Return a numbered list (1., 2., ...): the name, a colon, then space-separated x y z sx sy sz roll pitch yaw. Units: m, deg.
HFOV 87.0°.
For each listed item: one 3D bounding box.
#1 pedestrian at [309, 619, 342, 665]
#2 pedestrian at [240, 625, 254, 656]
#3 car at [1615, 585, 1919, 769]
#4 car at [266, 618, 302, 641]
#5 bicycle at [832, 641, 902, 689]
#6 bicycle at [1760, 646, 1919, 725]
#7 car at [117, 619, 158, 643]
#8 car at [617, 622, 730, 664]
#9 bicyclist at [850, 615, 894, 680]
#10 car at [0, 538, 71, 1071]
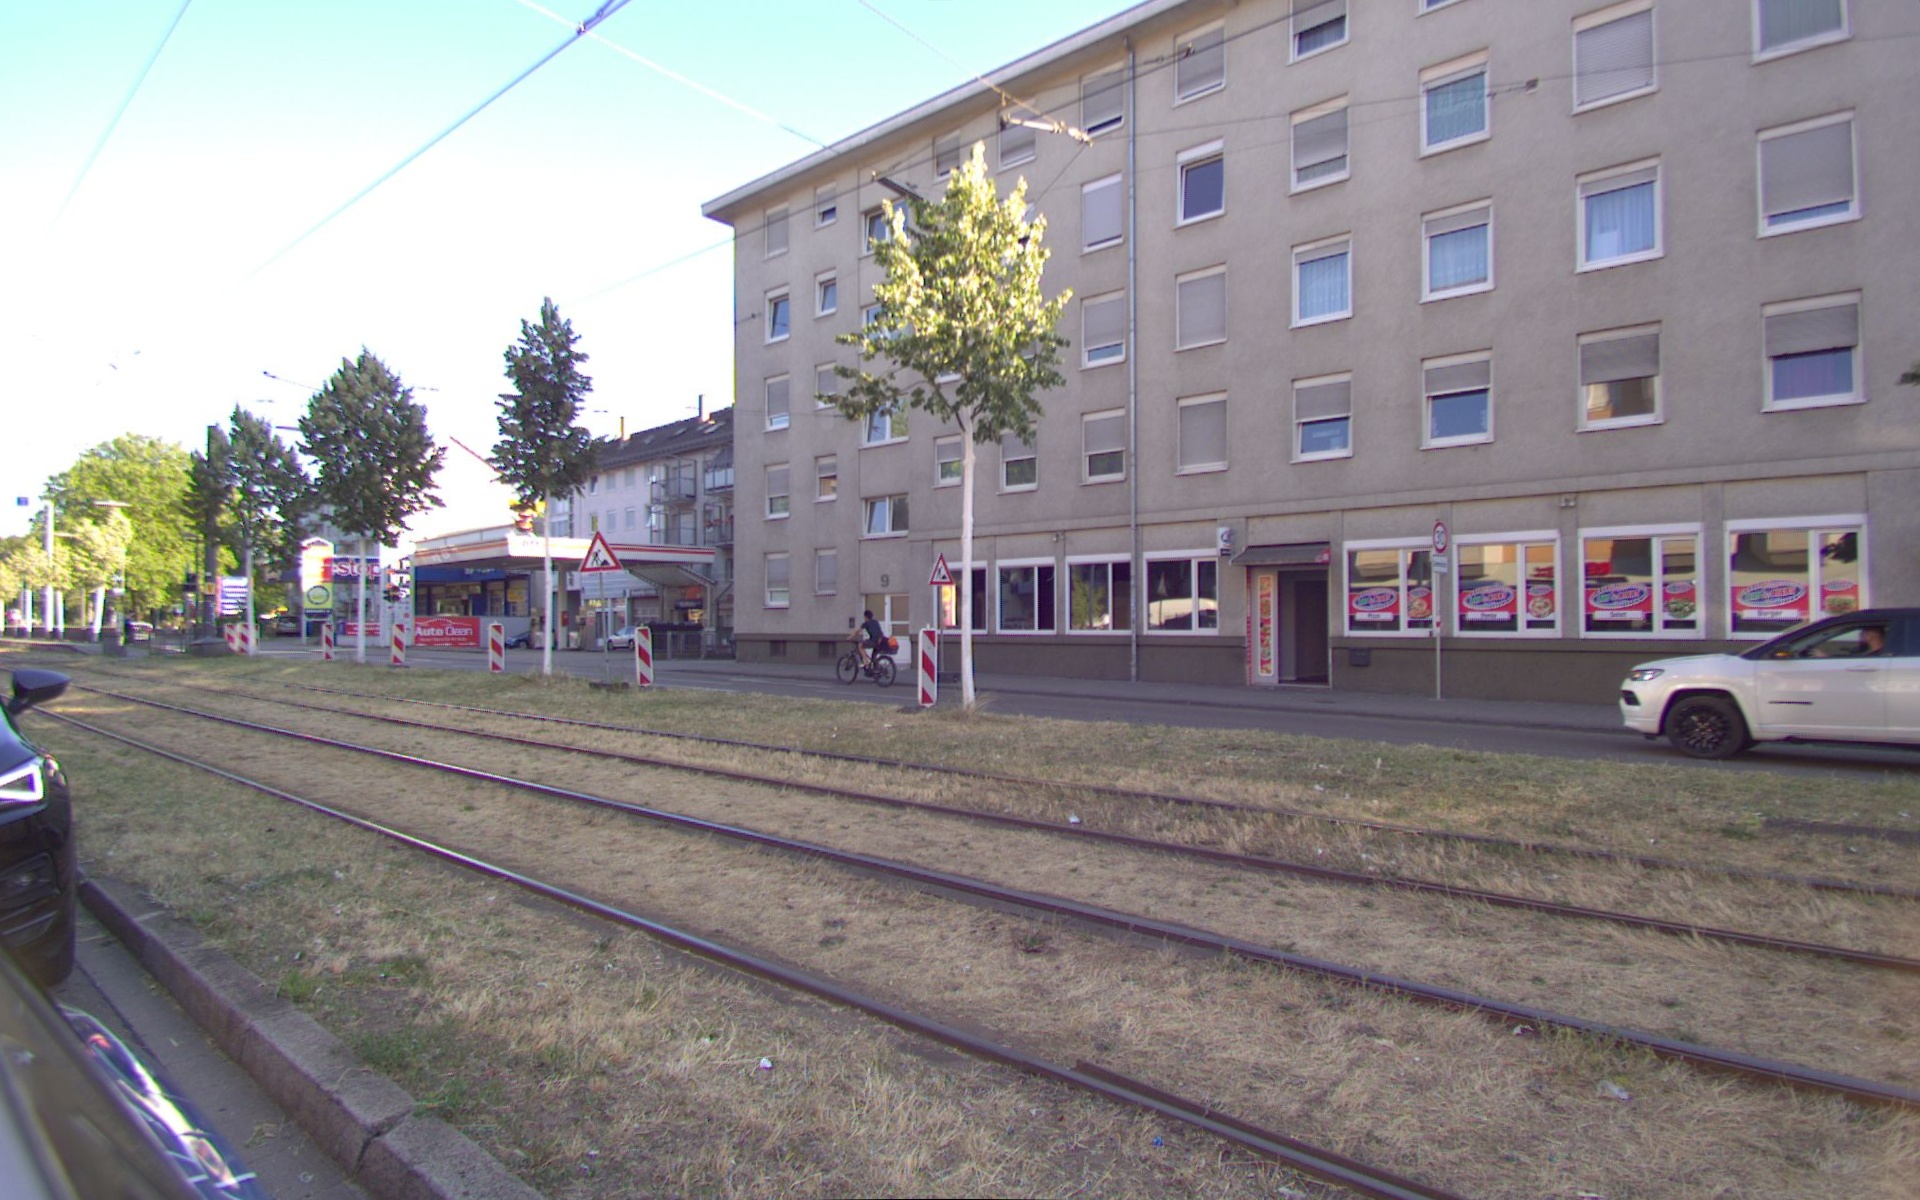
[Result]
1. pedestrian: -18.357 1.210 29.267 0.581 1.280 0.655 -3 -1 42
2. pedestrian: -47.037 2.639 66.757 0.583 2.029 0.623 -2 -2 42
3. car: 9.642 0.785 10.532 1.969 1.748 4.398 4 -4 -42
4. car: -49.974 2.122 74.796 1.756 1.567 4.006 -1 0 -40
5. bicycle: -2.141 1.462 23.130 1.860 1.052 0.441 -2 -2 42
6. bicycle: 12.799 1.215 14.679 1.844 1.031 0.601 -1 0 41
7. car: -57.448 2.142 70.685 3.828 1.622 1.701 -1 0 43
8. car: -10.731 1.601 38.102 1.906 1.481 3.680 -4 -4 40
9. bicyclist: -1.994 1.070 23.037 0.649 1.457 0.769 -2 -2 41
10. car: -5.029 0.707 3.991 3.998 1.690 1.752 -1 1 41
